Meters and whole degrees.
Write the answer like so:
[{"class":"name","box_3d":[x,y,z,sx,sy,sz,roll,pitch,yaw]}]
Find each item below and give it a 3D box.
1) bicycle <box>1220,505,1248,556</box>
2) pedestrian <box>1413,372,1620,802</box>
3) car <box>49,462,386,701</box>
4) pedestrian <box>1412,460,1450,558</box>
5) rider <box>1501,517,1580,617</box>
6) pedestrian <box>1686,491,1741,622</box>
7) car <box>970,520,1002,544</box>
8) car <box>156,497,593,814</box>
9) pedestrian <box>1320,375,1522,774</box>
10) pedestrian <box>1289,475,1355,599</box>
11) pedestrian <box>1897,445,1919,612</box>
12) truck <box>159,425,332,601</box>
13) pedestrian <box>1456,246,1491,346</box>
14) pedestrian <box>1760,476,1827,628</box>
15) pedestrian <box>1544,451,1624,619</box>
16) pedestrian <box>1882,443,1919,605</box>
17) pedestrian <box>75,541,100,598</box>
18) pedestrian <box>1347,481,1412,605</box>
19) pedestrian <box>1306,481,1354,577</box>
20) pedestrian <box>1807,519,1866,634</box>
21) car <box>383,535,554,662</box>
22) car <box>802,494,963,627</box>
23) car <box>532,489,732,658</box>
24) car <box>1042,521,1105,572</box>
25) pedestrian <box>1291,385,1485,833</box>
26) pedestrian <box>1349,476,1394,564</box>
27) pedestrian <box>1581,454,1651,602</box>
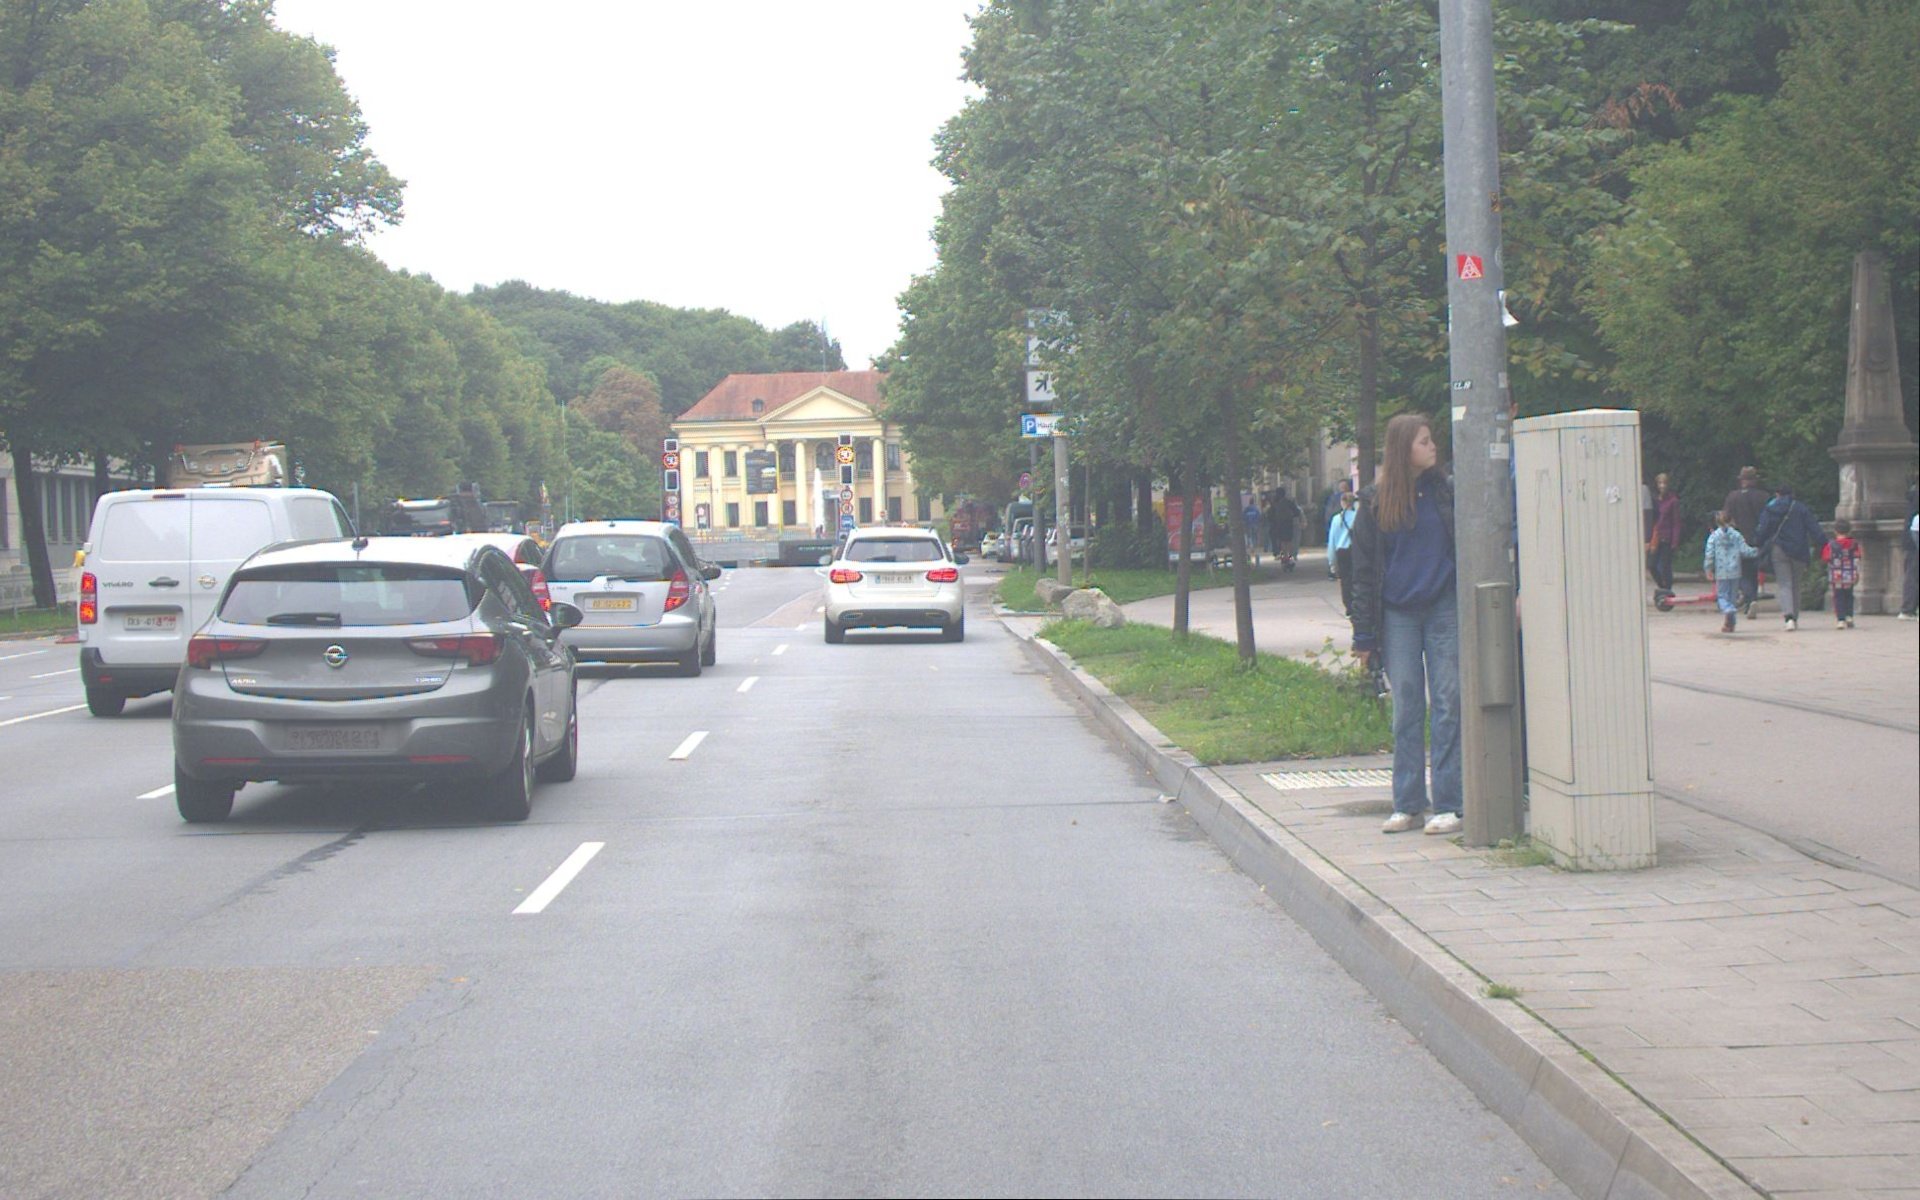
[{"class":"bicycle","box_3d":[5.530,-1.407,69.482,0.384,1.018,2.079,0,1,0]},{"class":"pedestrian","box_3d":[2.410,-0.063,14.869,0.638,1.802,0.709,1,1,35]},{"class":"car","box_3d":[-6.293,-0.181,29.712,1.898,1.841,4.956,-2,1,-1]},{"class":"pedestrian","box_3d":[8.759,-1.685,63.896,0.588,1.816,0.850,0,1,0]},{"class":"rider","box_3d":[6.535,-0.383,38.759,0.765,1.108,1.244,0,1,4]},{"class":"pedestrian","box_3d":[7.699,-0.447,35.124,0.458,1.322,0.648,0,1,4]},{"class":"car","box_3d":[1.481,-3.866,195.966,1.724,1.319,4.028,-2,1,0]},{"class":"car","box_3d":[-3.080,0.233,18.826,1.710,1.546,4.000,0,1,0]},{"class":"pedestrian","box_3d":[2.228,-0.127,16.617,0.805,1.874,0.543,1,1,35]},{"class":"pedestrian","box_3d":[4.849,-0.840,45.996,0.755,1.638,0.849,0,1,15]},{"class":"pedestrian","box_3d":[10.110,-0.747,35.150,0.812,1.685,0.728,-2,1,2]},{"class":"truck","box_3d":[-16.003,-1.949,77.498,2.915,3.761,7.667,0,1,-5]},{"class":"pedestrian","box_3d":[8.214,-4.859,54.997,0.485,1.560,0.572,0,1,15]},{"class":"pedestrian","box_3d":[8.400,-0.486,34.669,0.549,1.522,0.648,0,1,4]},{"class":"pedestrian","box_3d":[6.294,-0.654,34.682,0.726,1.685,0.648,0,1,4]},{"class":"pedestrian","box_3d":[10.186,-0.798,36.134,0.812,1.685,0.728,0,1,2]},{"class":"pedestrian","box_3d":[-26.625,-0.946,104.893,0.578,1.726,0.764,0,1,0]},{"class":"pedestrian","box_3d":[5.595,-0.758,45.816,0.755,1.638,0.849,0,1,15]},{"class":"pedestrian","box_3d":[6.752,-1.293,62.754,0.755,1.731,0.849,0,1,15]},{"class":"pedestrian","box_3d":[8.809,-0.243,34.565,0.458,1.149,0.648,0,1,4]},{"class":"car","box_3d":[-6.638,-0.053,46.788,1.779,1.648,4.000,0,1,0]},{"class":"car","box_3d":[-1.050,-0.532,44.603,1.779,1.639,4.001,0,1,-6]},{"class":"car","box_3d":[-3.350,-0.300,35.746,1.779,1.648,4.000,0,1,-1]},{"class":"car","box_3d":[3.649,-1.731,111.021,1.827,1.544,4.752,-2,1,0]},{"class":"pedestrian","box_3d":[1.757,0.031,14.182,0.708,1.802,0.639,0,1,-1]},{"class":"pedestrian","box_3d":[7.694,-1.499,64.263,0.755,1.638,0.650,0,1,15]},{"class":"pedestrian","box_3d":[7.536,-0.832,39.516,0.726,1.685,0.648,0,1,4]}]
